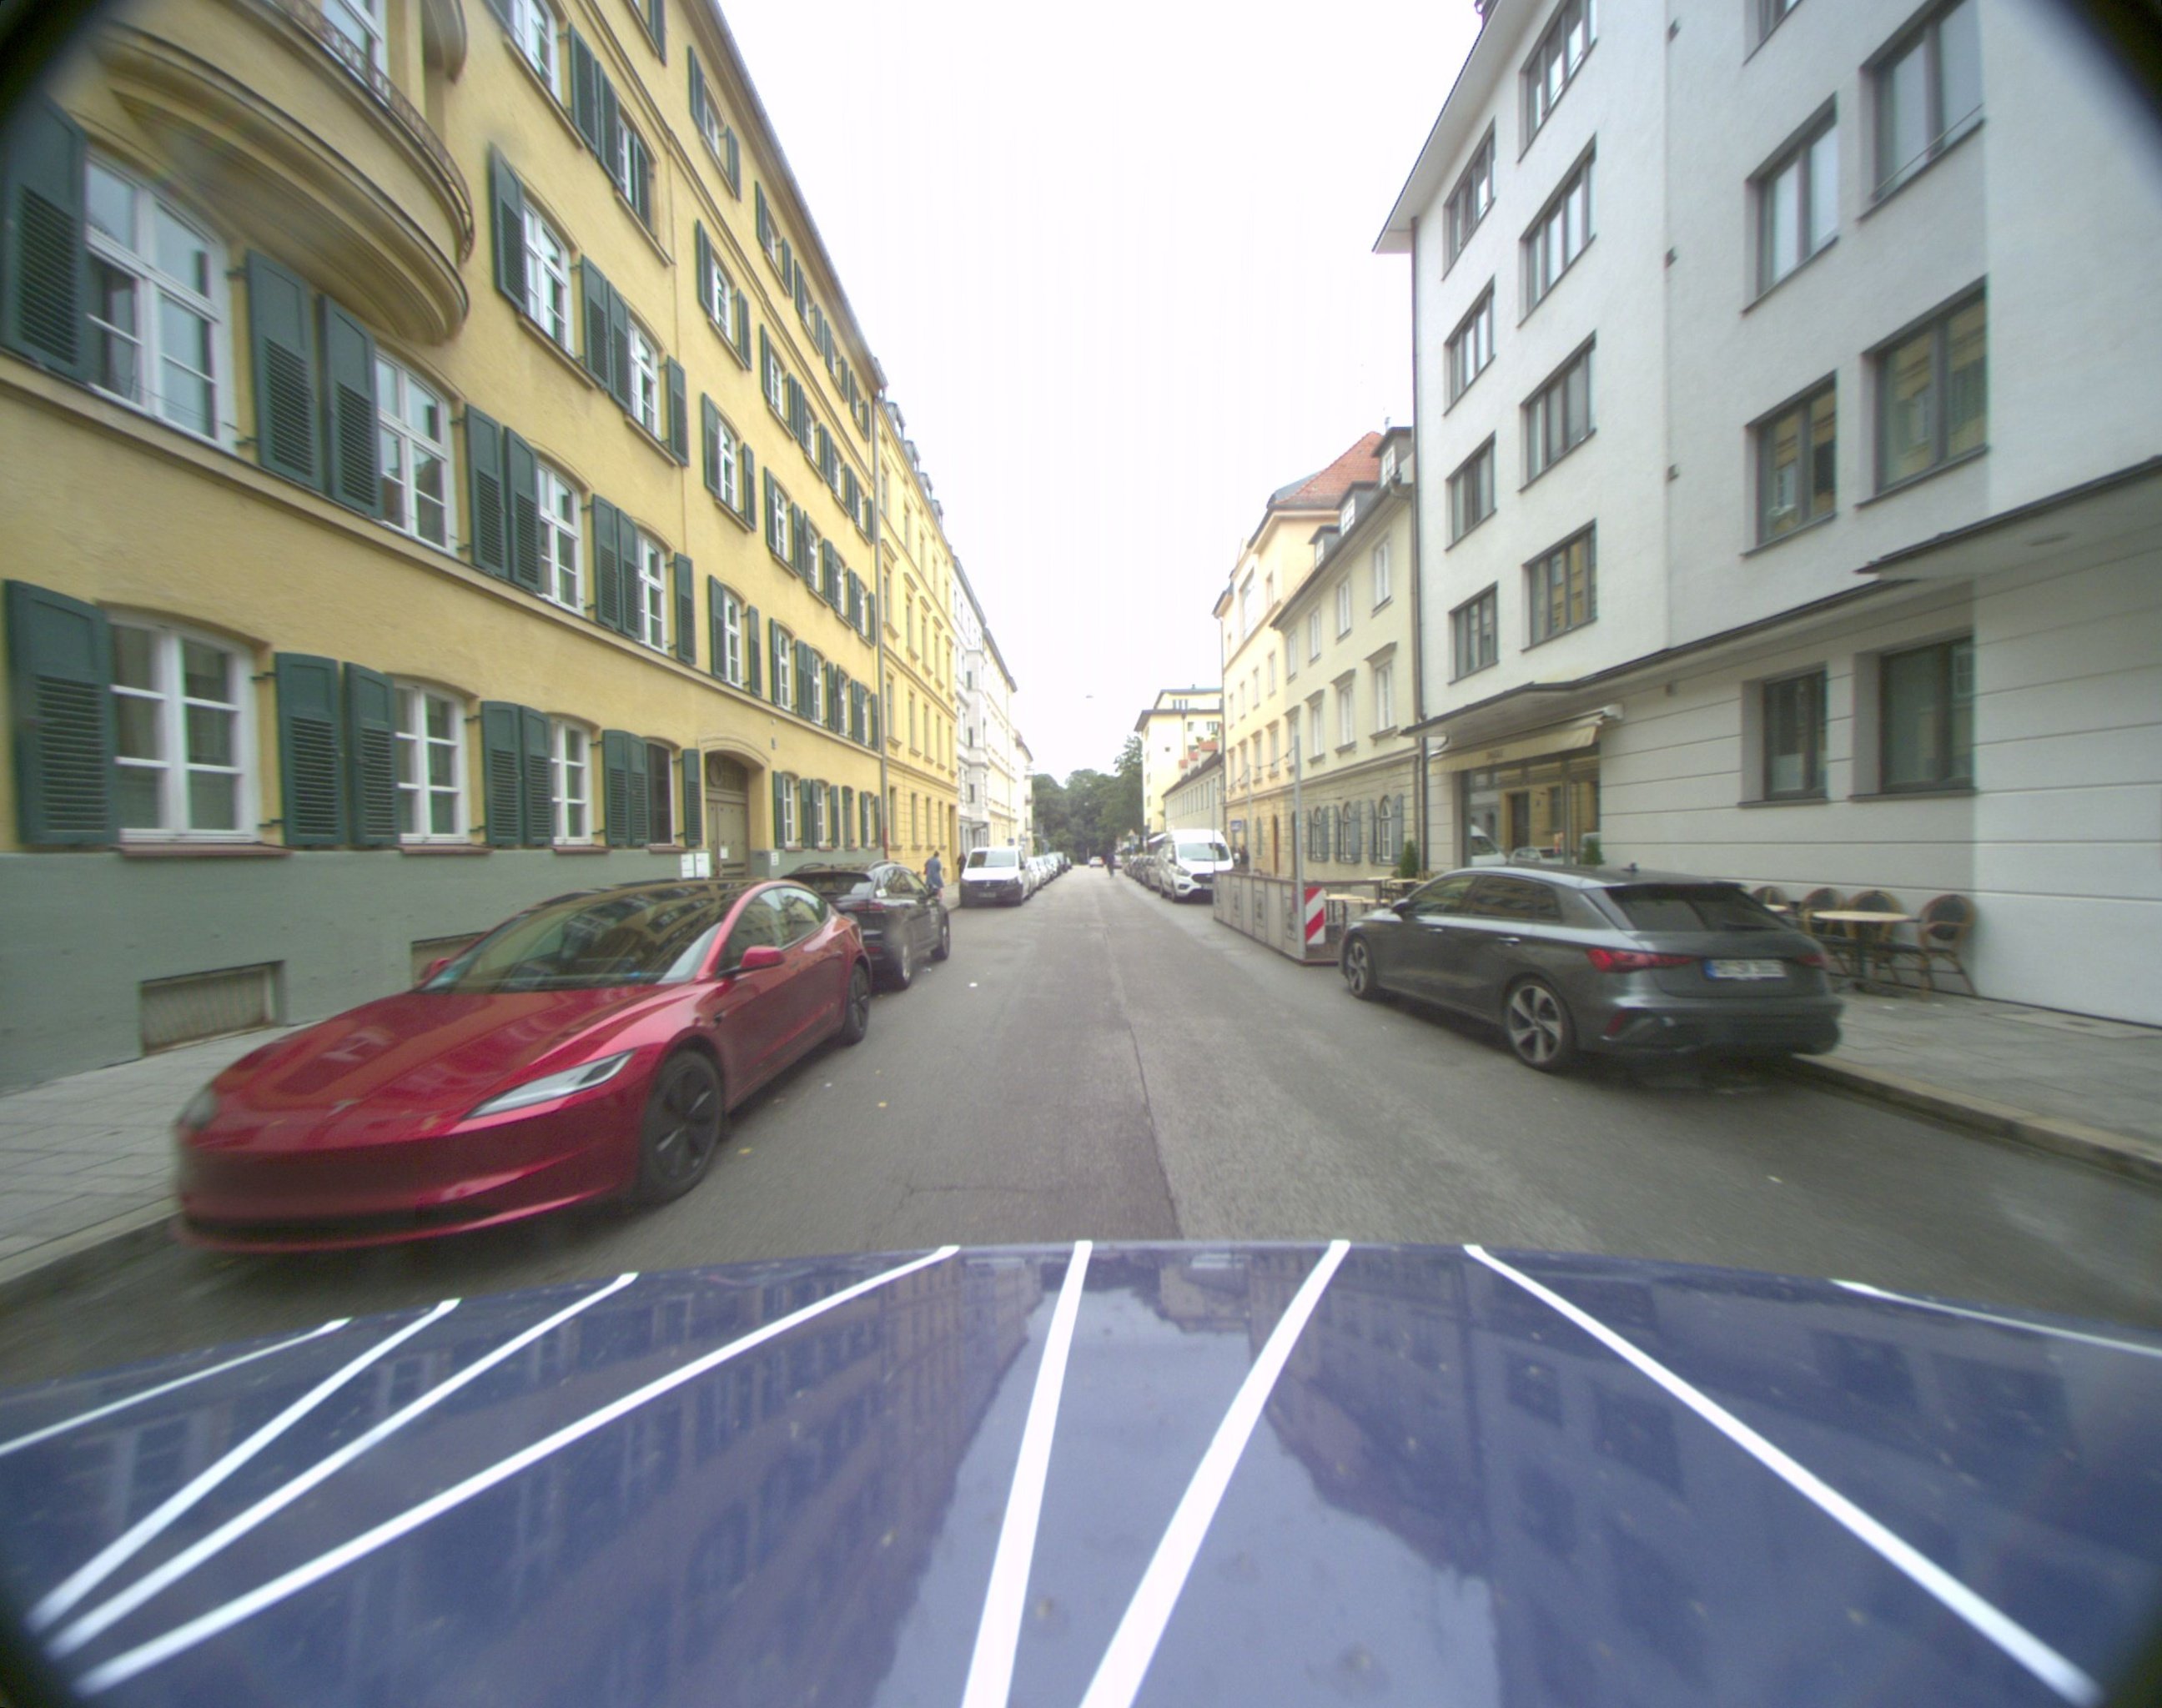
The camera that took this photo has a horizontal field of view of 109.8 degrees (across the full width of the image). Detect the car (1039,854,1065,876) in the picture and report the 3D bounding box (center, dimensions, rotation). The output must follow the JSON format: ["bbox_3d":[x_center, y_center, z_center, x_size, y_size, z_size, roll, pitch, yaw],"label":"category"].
[{"bbox_3d":[-2.173,0.797,58.354,1.721,1.557,4.143,-1,0,1],"label":"car"}]

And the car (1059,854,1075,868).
[{"bbox_3d":[-1.555,0.776,87.129,1.711,1.491,4.000,-1,0,0],"label":"car"}]

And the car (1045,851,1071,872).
[{"bbox_3d":[-2.102,0.624,69.733,1.998,1.850,5.114,-1,0,2],"label":"car"}]

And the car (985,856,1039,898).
[{"bbox_3d":[-2.646,0.842,30.199,1.821,1.501,4.586,-1,0,-1],"label":"car"}]

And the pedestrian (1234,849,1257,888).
[{"bbox_3d":[7.294,0.636,33.807,0.807,1.702,1.021,-1,0,2],"label":"pedestrian"}]

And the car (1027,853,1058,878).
[{"bbox_3d":[-2.319,0.680,47.134,1.721,1.501,3.936,-1,0,0],"label":"car"}]

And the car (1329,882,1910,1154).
[{"bbox_3d":[3.705,0.979,6.273,1.644,1.346,4.056,0,0,-6],"label":"car"}]

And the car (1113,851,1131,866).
[{"bbox_3d":[4.405,0.452,82.007,1.711,1.491,4.000,-1,0,0],"label":"car"}]

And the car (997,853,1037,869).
[{"bbox_3d":[-6.723,0.734,80.062,3.998,1.556,1.712,-1,1,-2],"label":"car"}]

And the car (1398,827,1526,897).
[{"bbox_3d":[12.077,0.217,24.453,1.998,2.002,4.400,-1,1,2],"label":"car"}]

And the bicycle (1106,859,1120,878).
[{"bbox_3d":[2.016,0.880,48.083,0.734,1.144,1.999,-1,0,0],"label":"bicycle"}]

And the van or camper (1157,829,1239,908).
[{"bbox_3d":[3.710,0.413,25.029,1.998,2.298,5.478,-1,1,2],"label":"van or camper"}]

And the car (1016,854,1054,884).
[{"bbox_3d":[-2.458,0.766,41.412,1.721,1.501,4.468,-1,0,1],"label":"car"}]

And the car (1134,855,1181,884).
[{"bbox_3d":[4.025,0.785,40.432,1.862,1.393,4.268,-2,0,-2],"label":"car"}]

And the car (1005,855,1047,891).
[{"bbox_3d":[-2.491,0.828,34.887,1.627,1.501,3.761,-1,0,0],"label":"car"}]

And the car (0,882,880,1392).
[{"bbox_3d":[-2.694,1.005,4.703,1.718,1.415,4.457,-1,1,-1],"label":"car"}]

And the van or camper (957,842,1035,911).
[{"bbox_3d":[-2.671,0.661,25.158,1.999,2.002,5.232,-1,0,0],"label":"van or camper"}]

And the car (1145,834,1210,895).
[{"bbox_3d":[3.762,0.375,30.272,1.862,2.188,4.560,-2,0,-1],"label":"car"}]

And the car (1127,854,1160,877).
[{"bbox_3d":[4.195,0.769,51.377,1.862,1.393,4.269,-2,0,0],"label":"car"}]

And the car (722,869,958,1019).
[{"bbox_3d":[-2.854,0.987,9.982,1.750,1.455,4.000,-1,0,1],"label":"car"}]

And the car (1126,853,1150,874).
[{"bbox_3d":[4.259,0.681,57.060,1.573,1.505,3.423,-2,0,1],"label":"car"}]

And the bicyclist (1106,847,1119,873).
[{"bbox_3d":[1.988,0.396,47.940,0.688,1.618,0.853,-2,1,-1],"label":"bicyclist"}]

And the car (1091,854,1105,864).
[{"bbox_3d":[2.359,0.674,104.990,1.793,1.409,3.905,0,0,0],"label":"car"}]

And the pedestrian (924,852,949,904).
[{"bbox_3d":[-4.663,0.767,24.563,0.598,1.629,0.896,2,0,-2],"label":"pedestrian"}]

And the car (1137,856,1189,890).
[{"bbox_3d":[3.767,0.830,35.642,1.862,1.393,4.268,-2,0,-1],"label":"car"}]

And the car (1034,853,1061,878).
[{"bbox_3d":[-2.304,0.778,53.524,1.721,1.592,4.322,-1,0,-1],"label":"car"}]

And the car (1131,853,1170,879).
[{"bbox_3d":[4.133,0.695,45.693,1.862,1.393,4.268,-2,0,-1],"label":"car"}]
